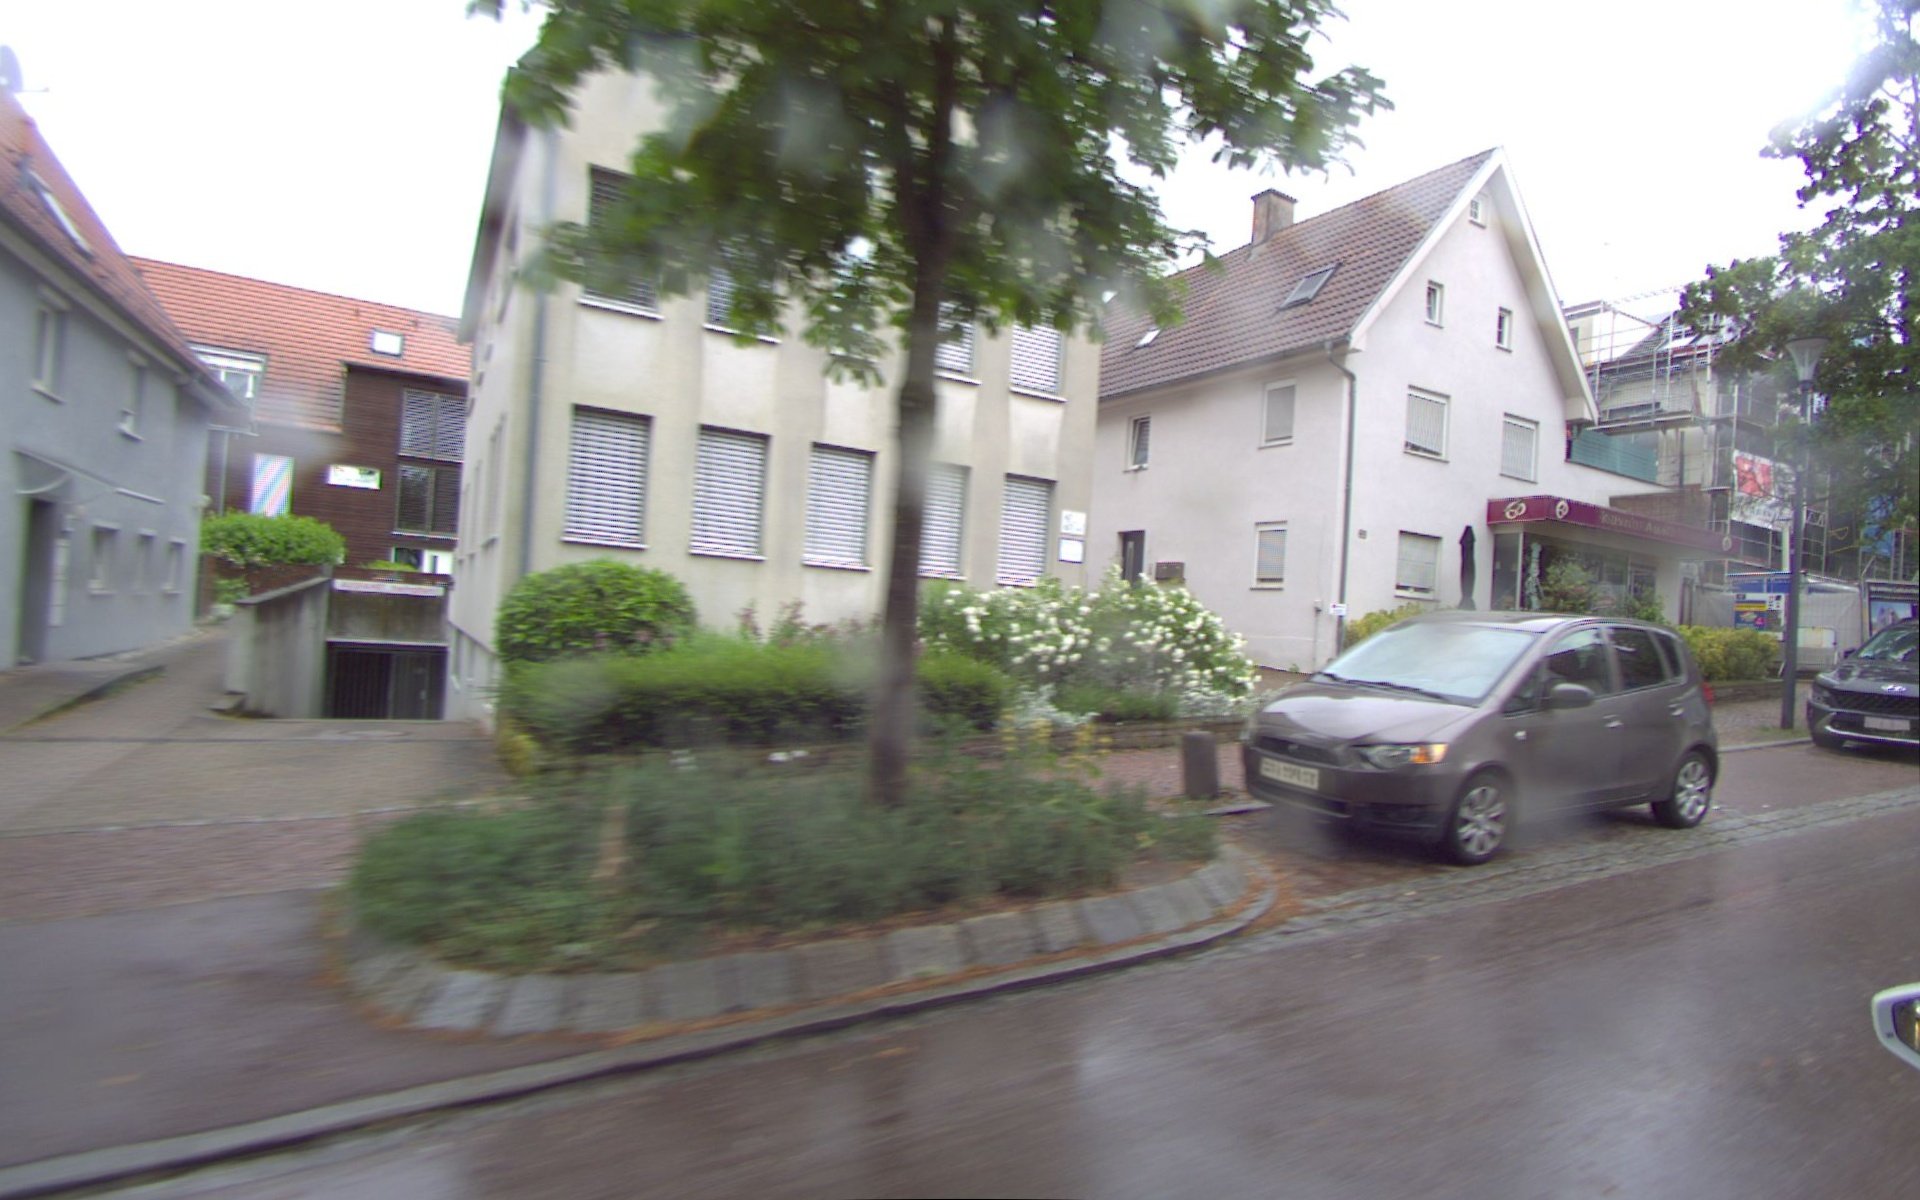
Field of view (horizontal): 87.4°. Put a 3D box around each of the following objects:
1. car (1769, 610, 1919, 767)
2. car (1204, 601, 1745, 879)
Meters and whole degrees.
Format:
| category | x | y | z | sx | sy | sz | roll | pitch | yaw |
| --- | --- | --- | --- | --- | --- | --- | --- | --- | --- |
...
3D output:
| category | x | y | z | sx | sy | sz | roll | pitch | yaw |
| --- | --- | --- | --- | --- | --- | --- | --- | --- | --- |
| car | 11.542 | 0.972 | 11.861 | 3.953 | 1.574 | 1.763 | 1 | 2 | -30 |
| car | 3.827 | 0.837 | 7.377 | 3.817 | 1.554 | 1.640 | 1 | 1 | -28 |
